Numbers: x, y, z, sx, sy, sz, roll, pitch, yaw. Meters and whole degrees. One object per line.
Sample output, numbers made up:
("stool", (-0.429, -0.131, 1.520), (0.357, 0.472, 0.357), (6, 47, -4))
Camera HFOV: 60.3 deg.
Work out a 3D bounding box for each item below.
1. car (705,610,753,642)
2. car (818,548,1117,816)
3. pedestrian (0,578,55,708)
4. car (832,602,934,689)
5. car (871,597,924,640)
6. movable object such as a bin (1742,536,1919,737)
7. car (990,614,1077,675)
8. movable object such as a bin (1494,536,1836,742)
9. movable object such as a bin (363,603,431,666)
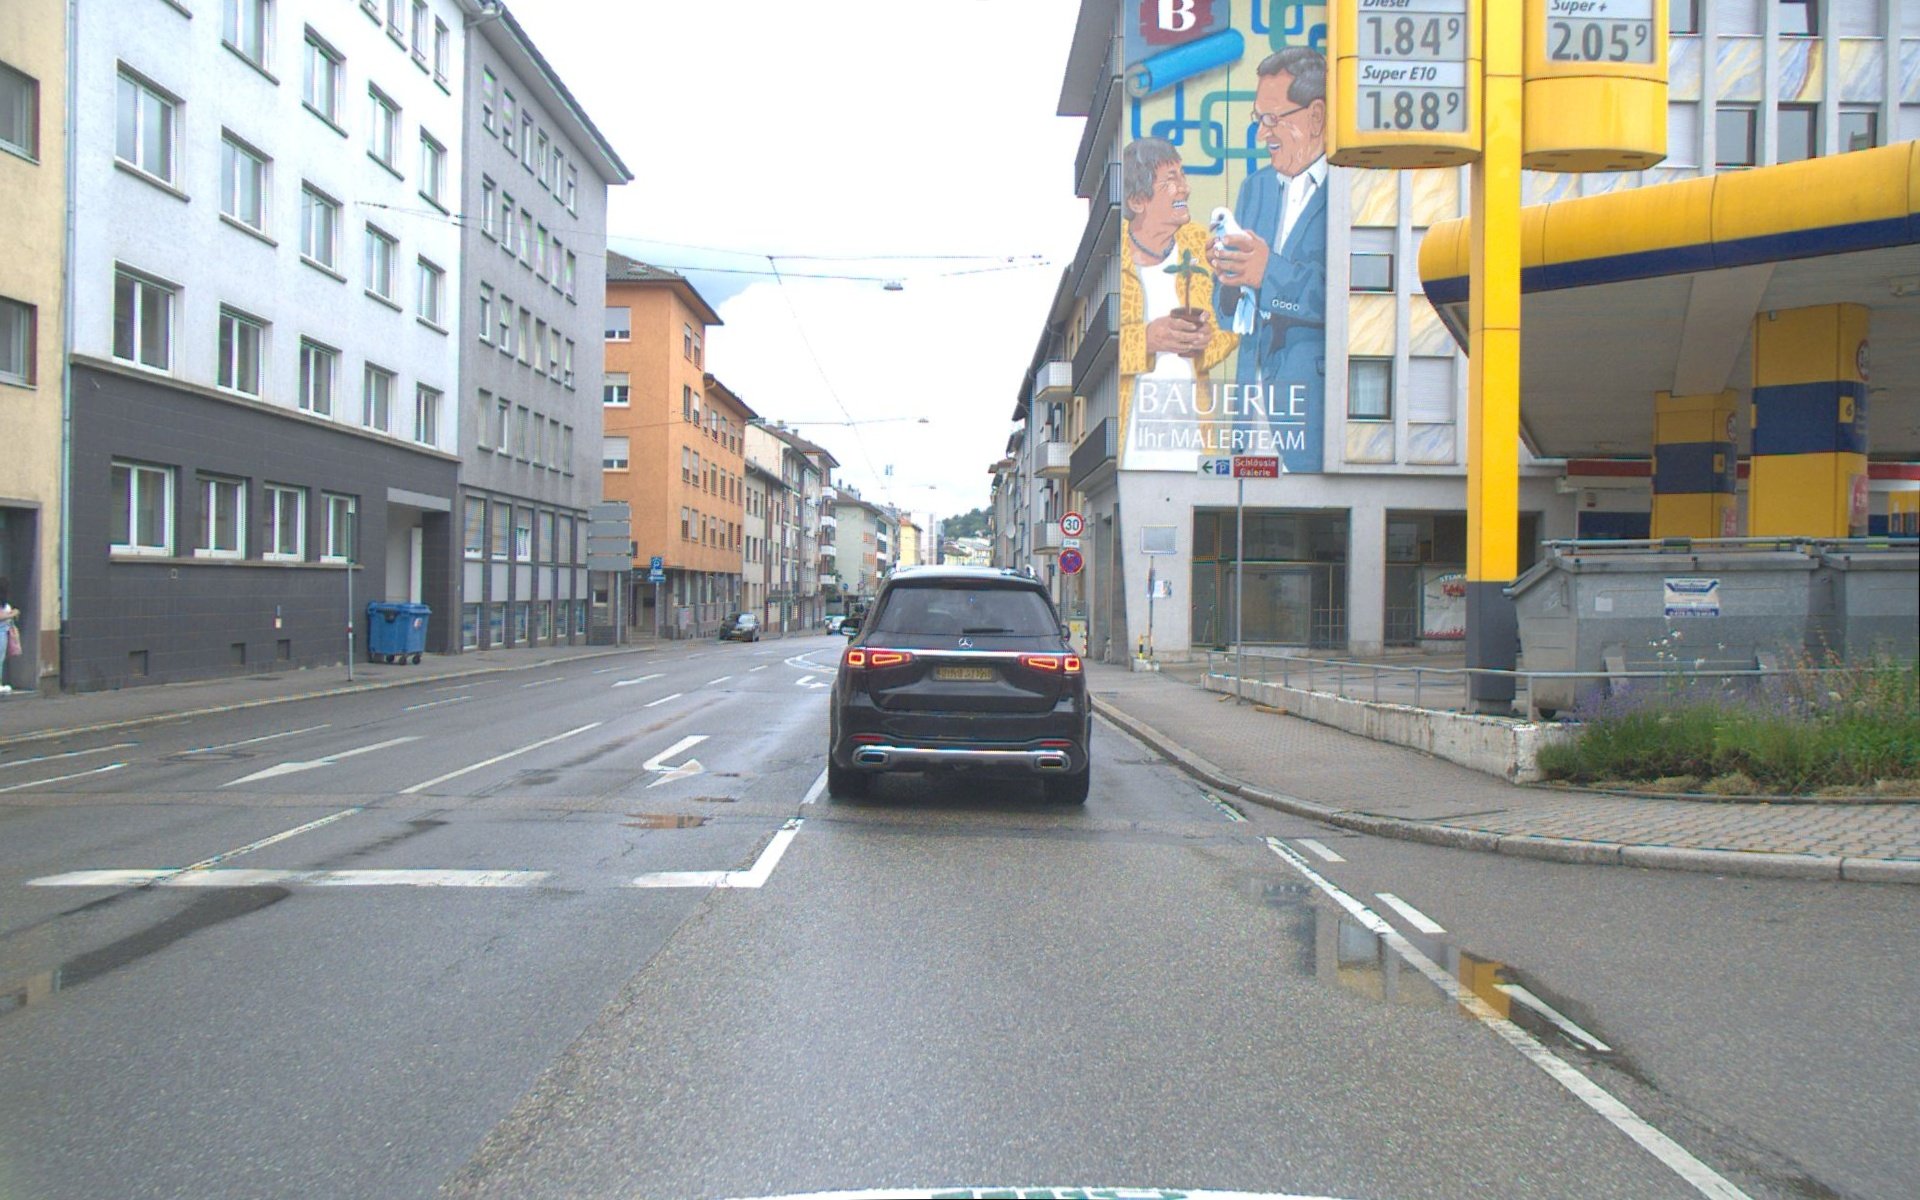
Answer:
("car", (-11.628, 1.312, 83.442), (1.853, 1.484, 4.547), (3, 0, -2))
("car", (0.031, 0.580, 13.945), (2.034, 1.796, 4.610), (3, 0, -1))
("pedestrian", (-12.990, 0.575, 22.600), (0.702, 1.719, 0.811), (2, -1, 1))
("car", (-1.557, 0.874, 33.459), (1.855, 1.537, 4.171), (4, 0, -3))
("car", (-2.614, 0.747, 70.215), (2.034, 1.678, 4.294), (3, 0, -1))
("movable object such as a bin", (8.063, 0.285, 13.930), (2.111, 1.582, 1.773), (-1, -1, 0))
("car", (1.925, 1.159, 44.782), (1.856, 1.427, 4.606), (-4, 0, -3))
("movable object such as a bin", (5.810, 0.312, 13.845), (2.111, 1.602, 1.773), (0, -1, 0))
("movable object such as a bin", (-12.622, 0.762, 37.136), (1.054, 1.347, 1.190), (2, -1, 0))
